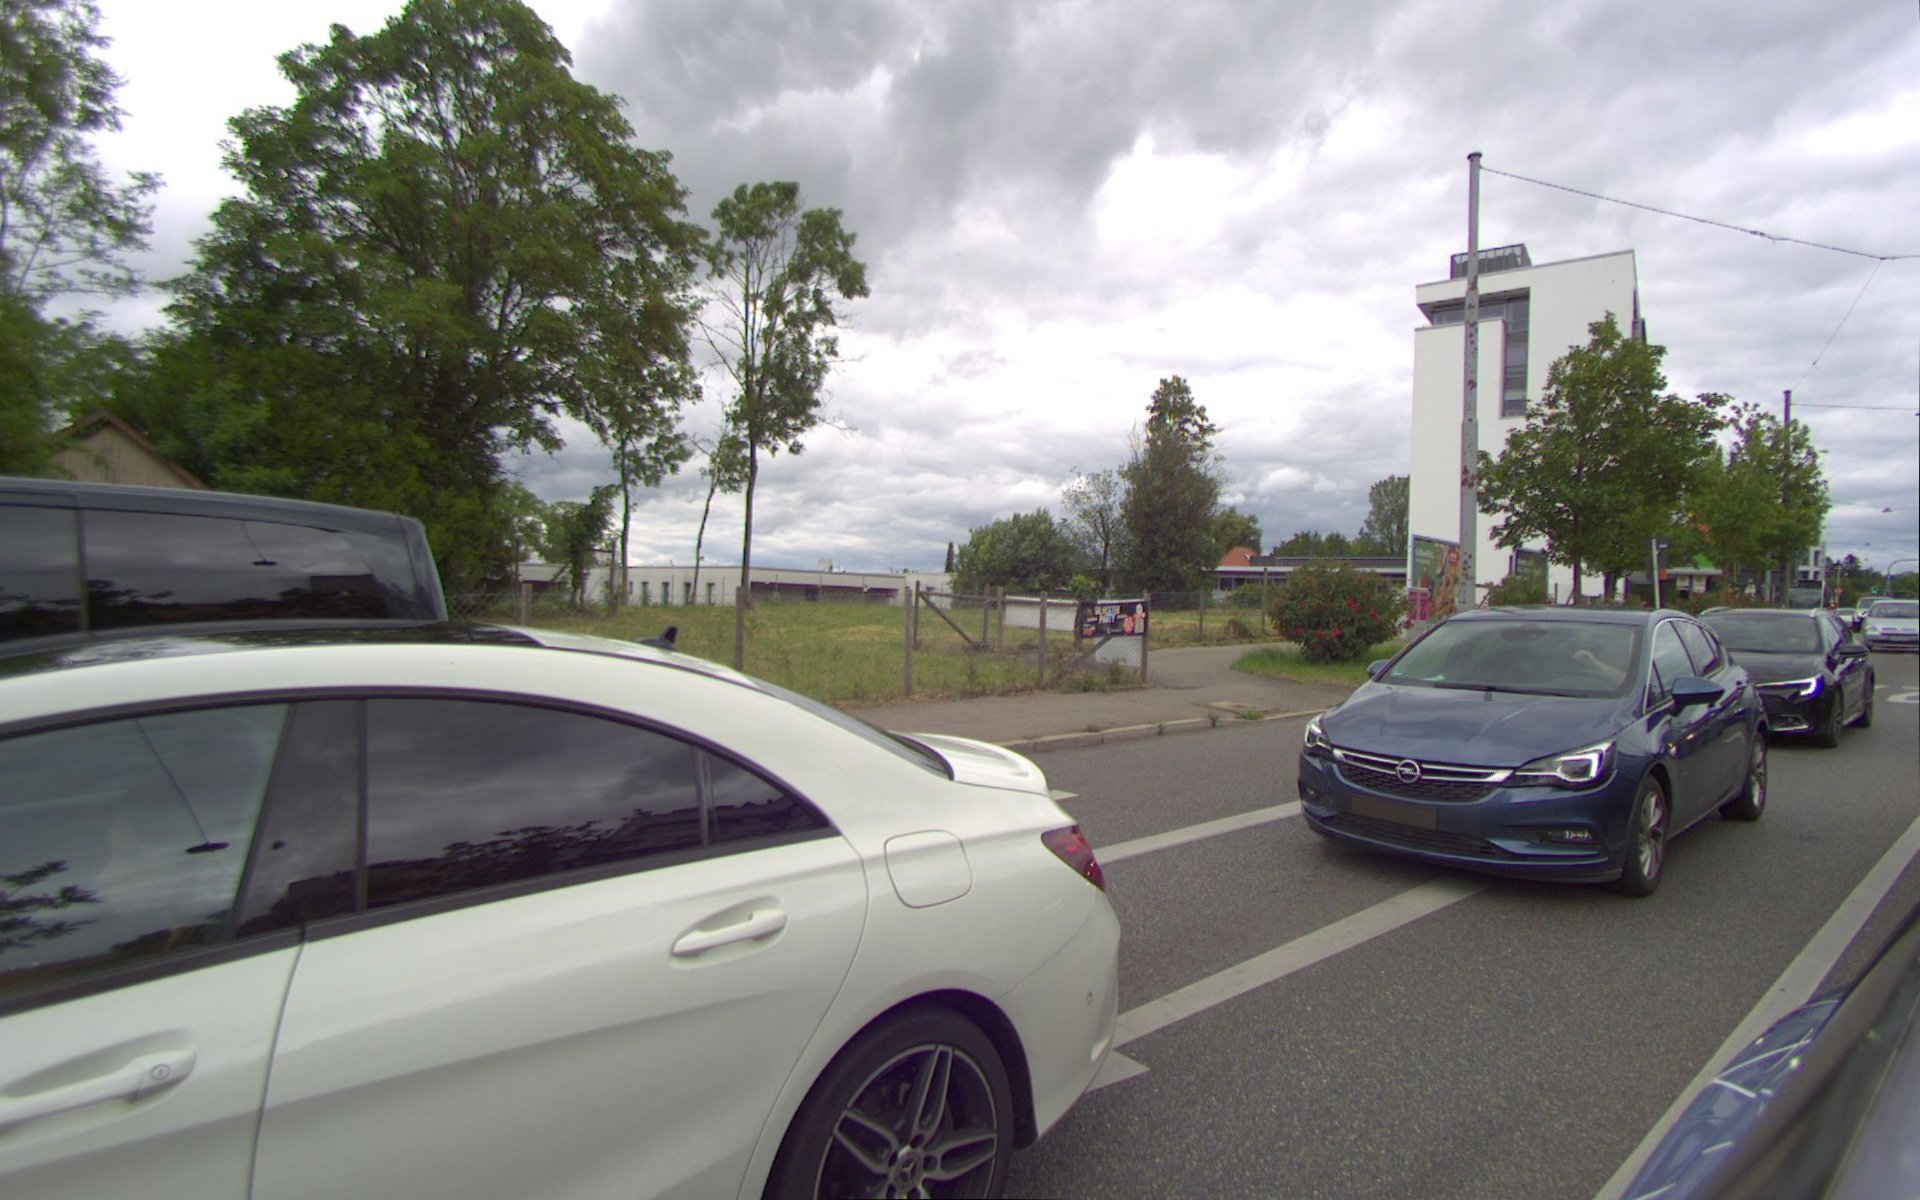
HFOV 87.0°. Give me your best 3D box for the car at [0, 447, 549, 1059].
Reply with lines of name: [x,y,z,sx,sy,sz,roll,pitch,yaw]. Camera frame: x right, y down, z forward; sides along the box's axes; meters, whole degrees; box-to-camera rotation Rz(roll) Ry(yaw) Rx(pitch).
car: [-4.061,0.471,3.387,4.627,1.863,1.952,0,-1,-41]

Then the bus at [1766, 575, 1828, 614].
bus: [61.419,-0.449,74.477,2.952,2.664,12.751,0,1,37]

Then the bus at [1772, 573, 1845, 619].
bus: [53.952,-0.315,64.577,2.952,2.664,11.986,0,1,37]

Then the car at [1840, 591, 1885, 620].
car: [60.652,0.355,68.054,1.990,1.844,3.945,2,2,38]

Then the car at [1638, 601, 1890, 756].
car: [9.365,0.757,11.687,3.854,1.475,1.663,0,0,-42]

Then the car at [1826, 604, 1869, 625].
car: [72.947,1.161,83.176,3.928,1.621,1.998,0,1,-39]

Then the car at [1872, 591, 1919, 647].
car: [29.495,0.542,31.015,3.717,1.637,1.849,0,-1,-41]

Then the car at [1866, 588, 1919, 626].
car: [49.083,0.345,53.181,1.842,1.910,4.080,-1,-1,37]

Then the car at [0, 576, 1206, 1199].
car: [-1.538,0.694,1.816,4.300,1.451,1.652,0,1,-41]

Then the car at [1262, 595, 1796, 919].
car: [3.809,0.689,6.483,3.931,1.428,1.825,0,0,-42]
